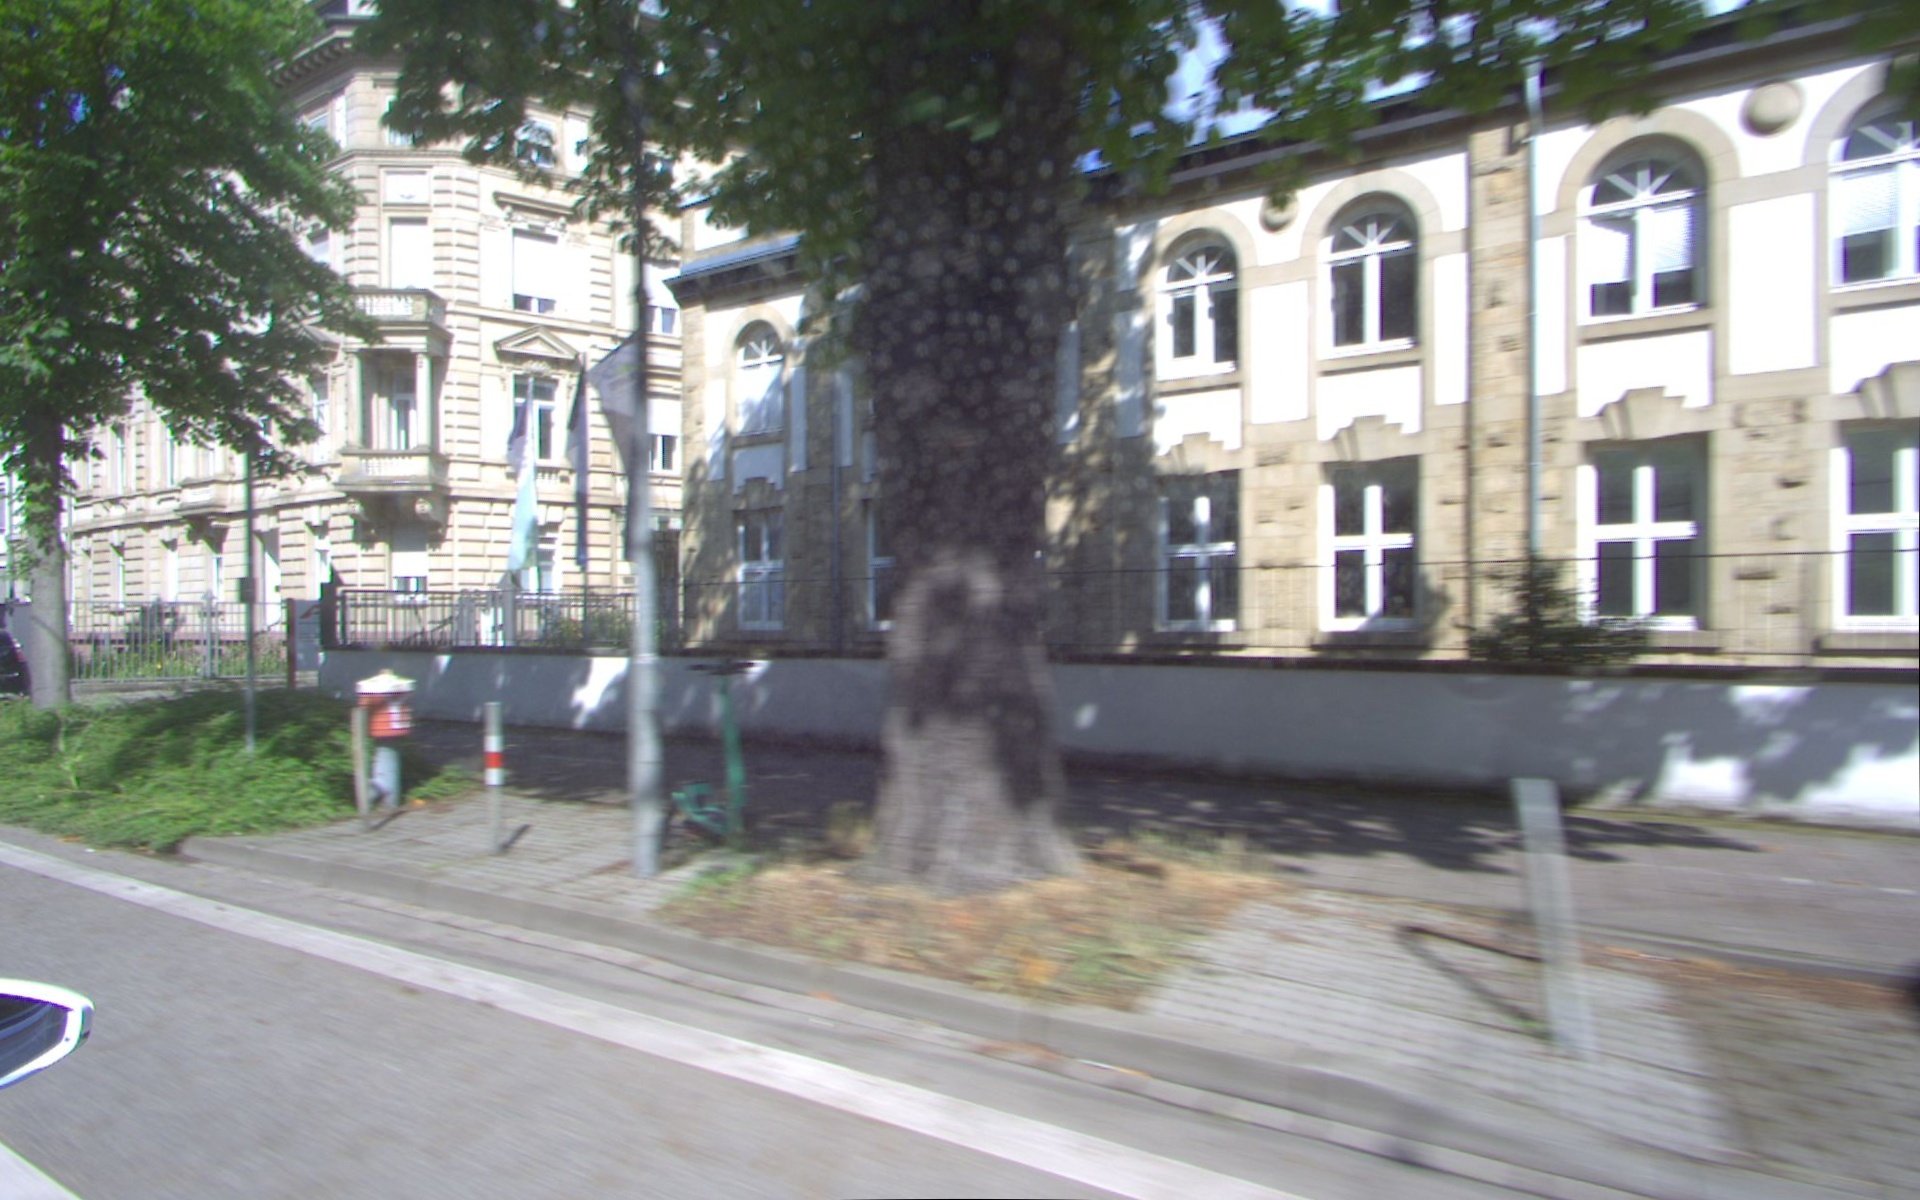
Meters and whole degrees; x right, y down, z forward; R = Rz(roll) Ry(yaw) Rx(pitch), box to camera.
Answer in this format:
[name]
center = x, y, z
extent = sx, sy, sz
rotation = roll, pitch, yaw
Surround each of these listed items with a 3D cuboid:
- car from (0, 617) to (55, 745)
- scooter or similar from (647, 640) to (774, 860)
[car]
center = -14.201, 1.085, 13.530
extent = 4.140, 1.612, 1.694
rotation = -1, 0, 30
[scooter or similar]
center = -1.657, 0.916, 6.547
extent = 0.338, 1.254, 1.251
rotation = -3, 2, -35
